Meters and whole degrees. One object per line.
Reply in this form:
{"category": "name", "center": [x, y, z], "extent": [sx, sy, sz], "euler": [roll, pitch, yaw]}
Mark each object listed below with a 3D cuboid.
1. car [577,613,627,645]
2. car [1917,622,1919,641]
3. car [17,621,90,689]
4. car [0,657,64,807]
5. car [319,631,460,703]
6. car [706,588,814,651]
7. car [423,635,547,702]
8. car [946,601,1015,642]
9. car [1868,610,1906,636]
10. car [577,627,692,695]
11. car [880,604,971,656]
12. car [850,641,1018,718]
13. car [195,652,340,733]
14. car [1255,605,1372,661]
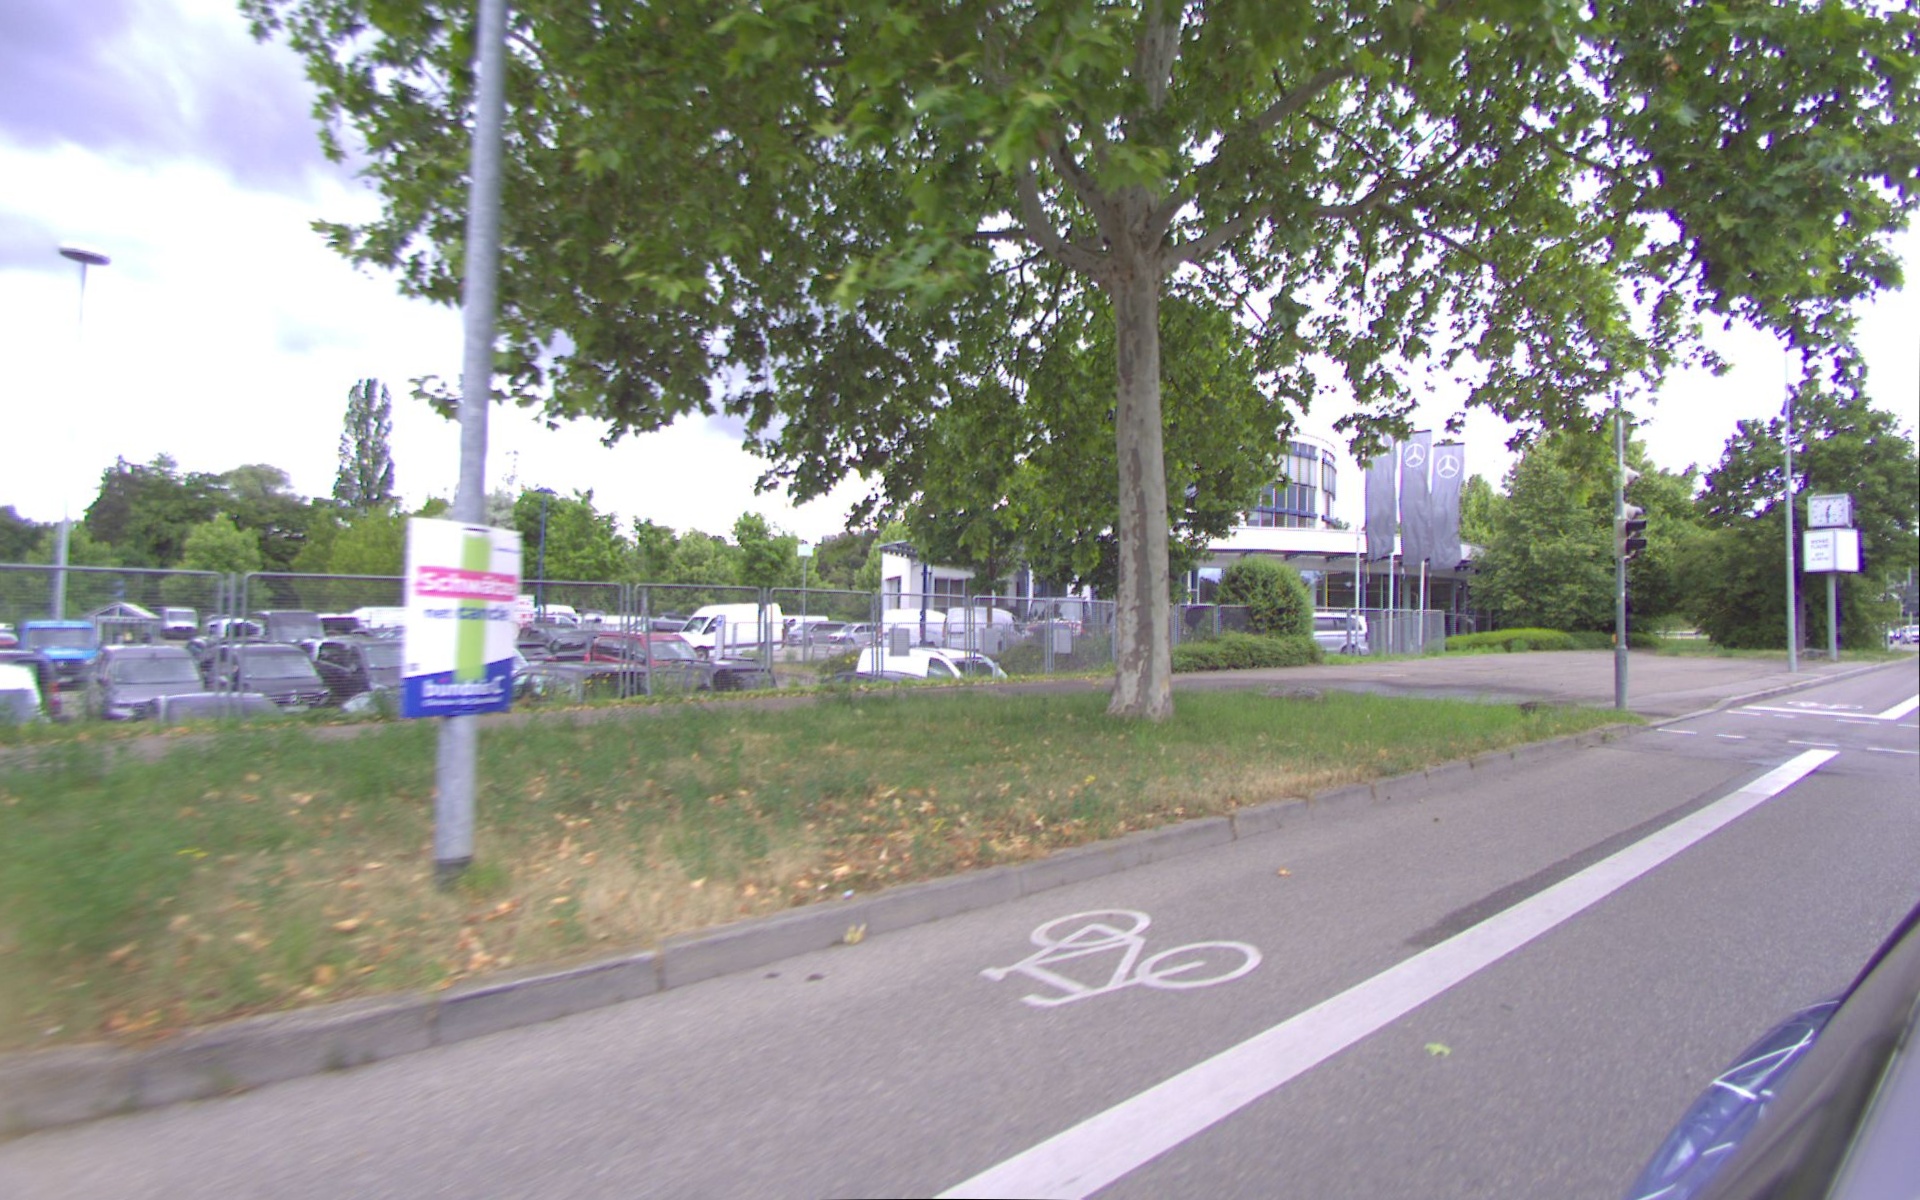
{"category": "car", "center": [-23.069, 1.895, 65.144], "extent": [1.963, 2.040, 3.997], "euler": [2, -3, -37]}
{"category": "car", "center": [102.362, 3.292, 106.538], "extent": [2.114, 2.017, 4.906], "euler": [-4, -4, 44]}
{"category": "car", "center": [-30.483, 1.784, 34.055], "extent": [1.704, 2.140, 3.992], "euler": [1, -2, -42]}
{"category": "car", "center": [-12.887, 1.639, 13.043], "extent": [3.732, 1.639, 1.665], "euler": [-1, -2, 43]}
{"category": "car", "center": [-14.253, 1.597, 25.213], "extent": [3.985, 1.572, 1.969], "euler": [-1, -1, 43]}
{"category": "car", "center": [-9.354, 0.886, 47.432], "extent": [1.992, 2.356, 4.359], "euler": [-16, -9, 43]}
{"category": "car", "center": [-12.822, 1.779, 27.200], "extent": [1.965, 1.572, 3.992], "euler": [1, -1, -42]}
{"category": "car", "center": [0.773, 0.735, 35.216], "extent": [1.603, 1.367, 3.578], "euler": [0, -1, 15]}
{"category": "car", "center": [99.147, 2.475, 108.296], "extent": [2.214, 2.693, 5.882], "euler": [-3, -3, 36]}
{"category": "car", "center": [-10.138, 1.822, 31.378], "extent": [1.965, 1.906, 3.992], "euler": [1, -1, -42]}
{"category": "car", "center": [-1.181, 1.047, 36.311], "extent": [1.613, 1.779, 3.556], "euler": [0, -1, 31]}
{"category": "car", "center": [-0.700, 1.900, 25.086], "extent": [3.986, 1.639, 1.969], "euler": [-1, -1, 43]}
{"category": "car", "center": [-16.072, 2.053, 23.416], "extent": [3.985, 1.572, 1.969], "euler": [-1, -1, 43]}
{"category": "car", "center": [13.548, 1.251, 39.051], "extent": [3.934, 2.051, 1.995], "euler": [0, -1, 9]}
